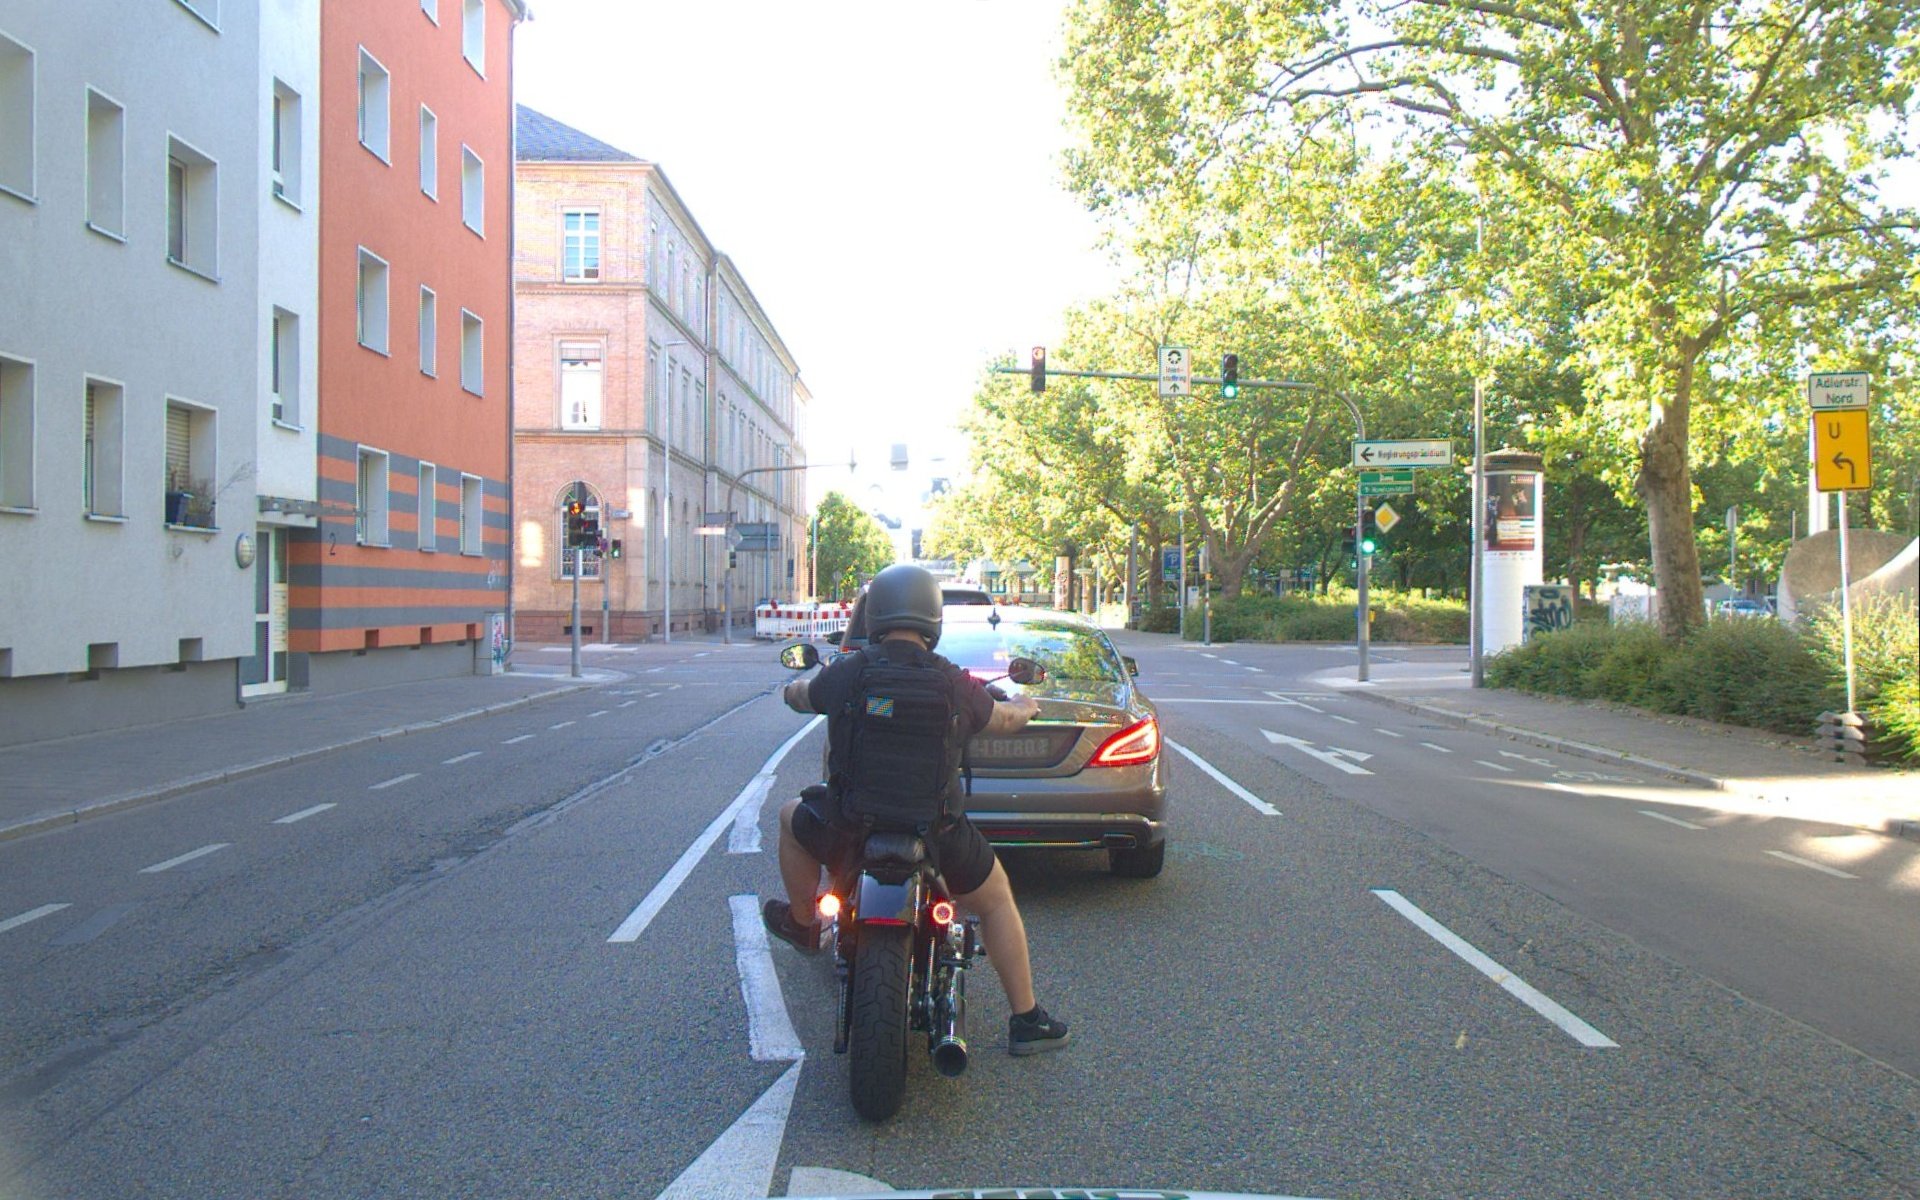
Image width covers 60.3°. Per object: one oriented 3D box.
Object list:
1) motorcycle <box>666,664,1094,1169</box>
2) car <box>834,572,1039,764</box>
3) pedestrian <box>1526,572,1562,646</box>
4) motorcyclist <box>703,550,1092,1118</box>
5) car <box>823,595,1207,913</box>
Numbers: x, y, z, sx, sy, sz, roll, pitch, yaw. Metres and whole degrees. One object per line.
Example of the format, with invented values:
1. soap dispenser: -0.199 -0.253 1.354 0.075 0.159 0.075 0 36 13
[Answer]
1. motorcycle: -0.128 0.874 5.489 1.094 1.228 2.213 1 0 5
2. car: -0.239 0.625 16.933 1.825 1.707 3.999 1 0 -1
3. pedestrian: 14.651 0.226 41.494 0.720 1.809 0.730 1 -1 10
4. motorcyclist: -0.141 0.663 5.268 1.076 1.593 1.072 1 0 5
5. car: 0.234 0.733 9.661 1.785 1.462 3.805 1 0 -1
